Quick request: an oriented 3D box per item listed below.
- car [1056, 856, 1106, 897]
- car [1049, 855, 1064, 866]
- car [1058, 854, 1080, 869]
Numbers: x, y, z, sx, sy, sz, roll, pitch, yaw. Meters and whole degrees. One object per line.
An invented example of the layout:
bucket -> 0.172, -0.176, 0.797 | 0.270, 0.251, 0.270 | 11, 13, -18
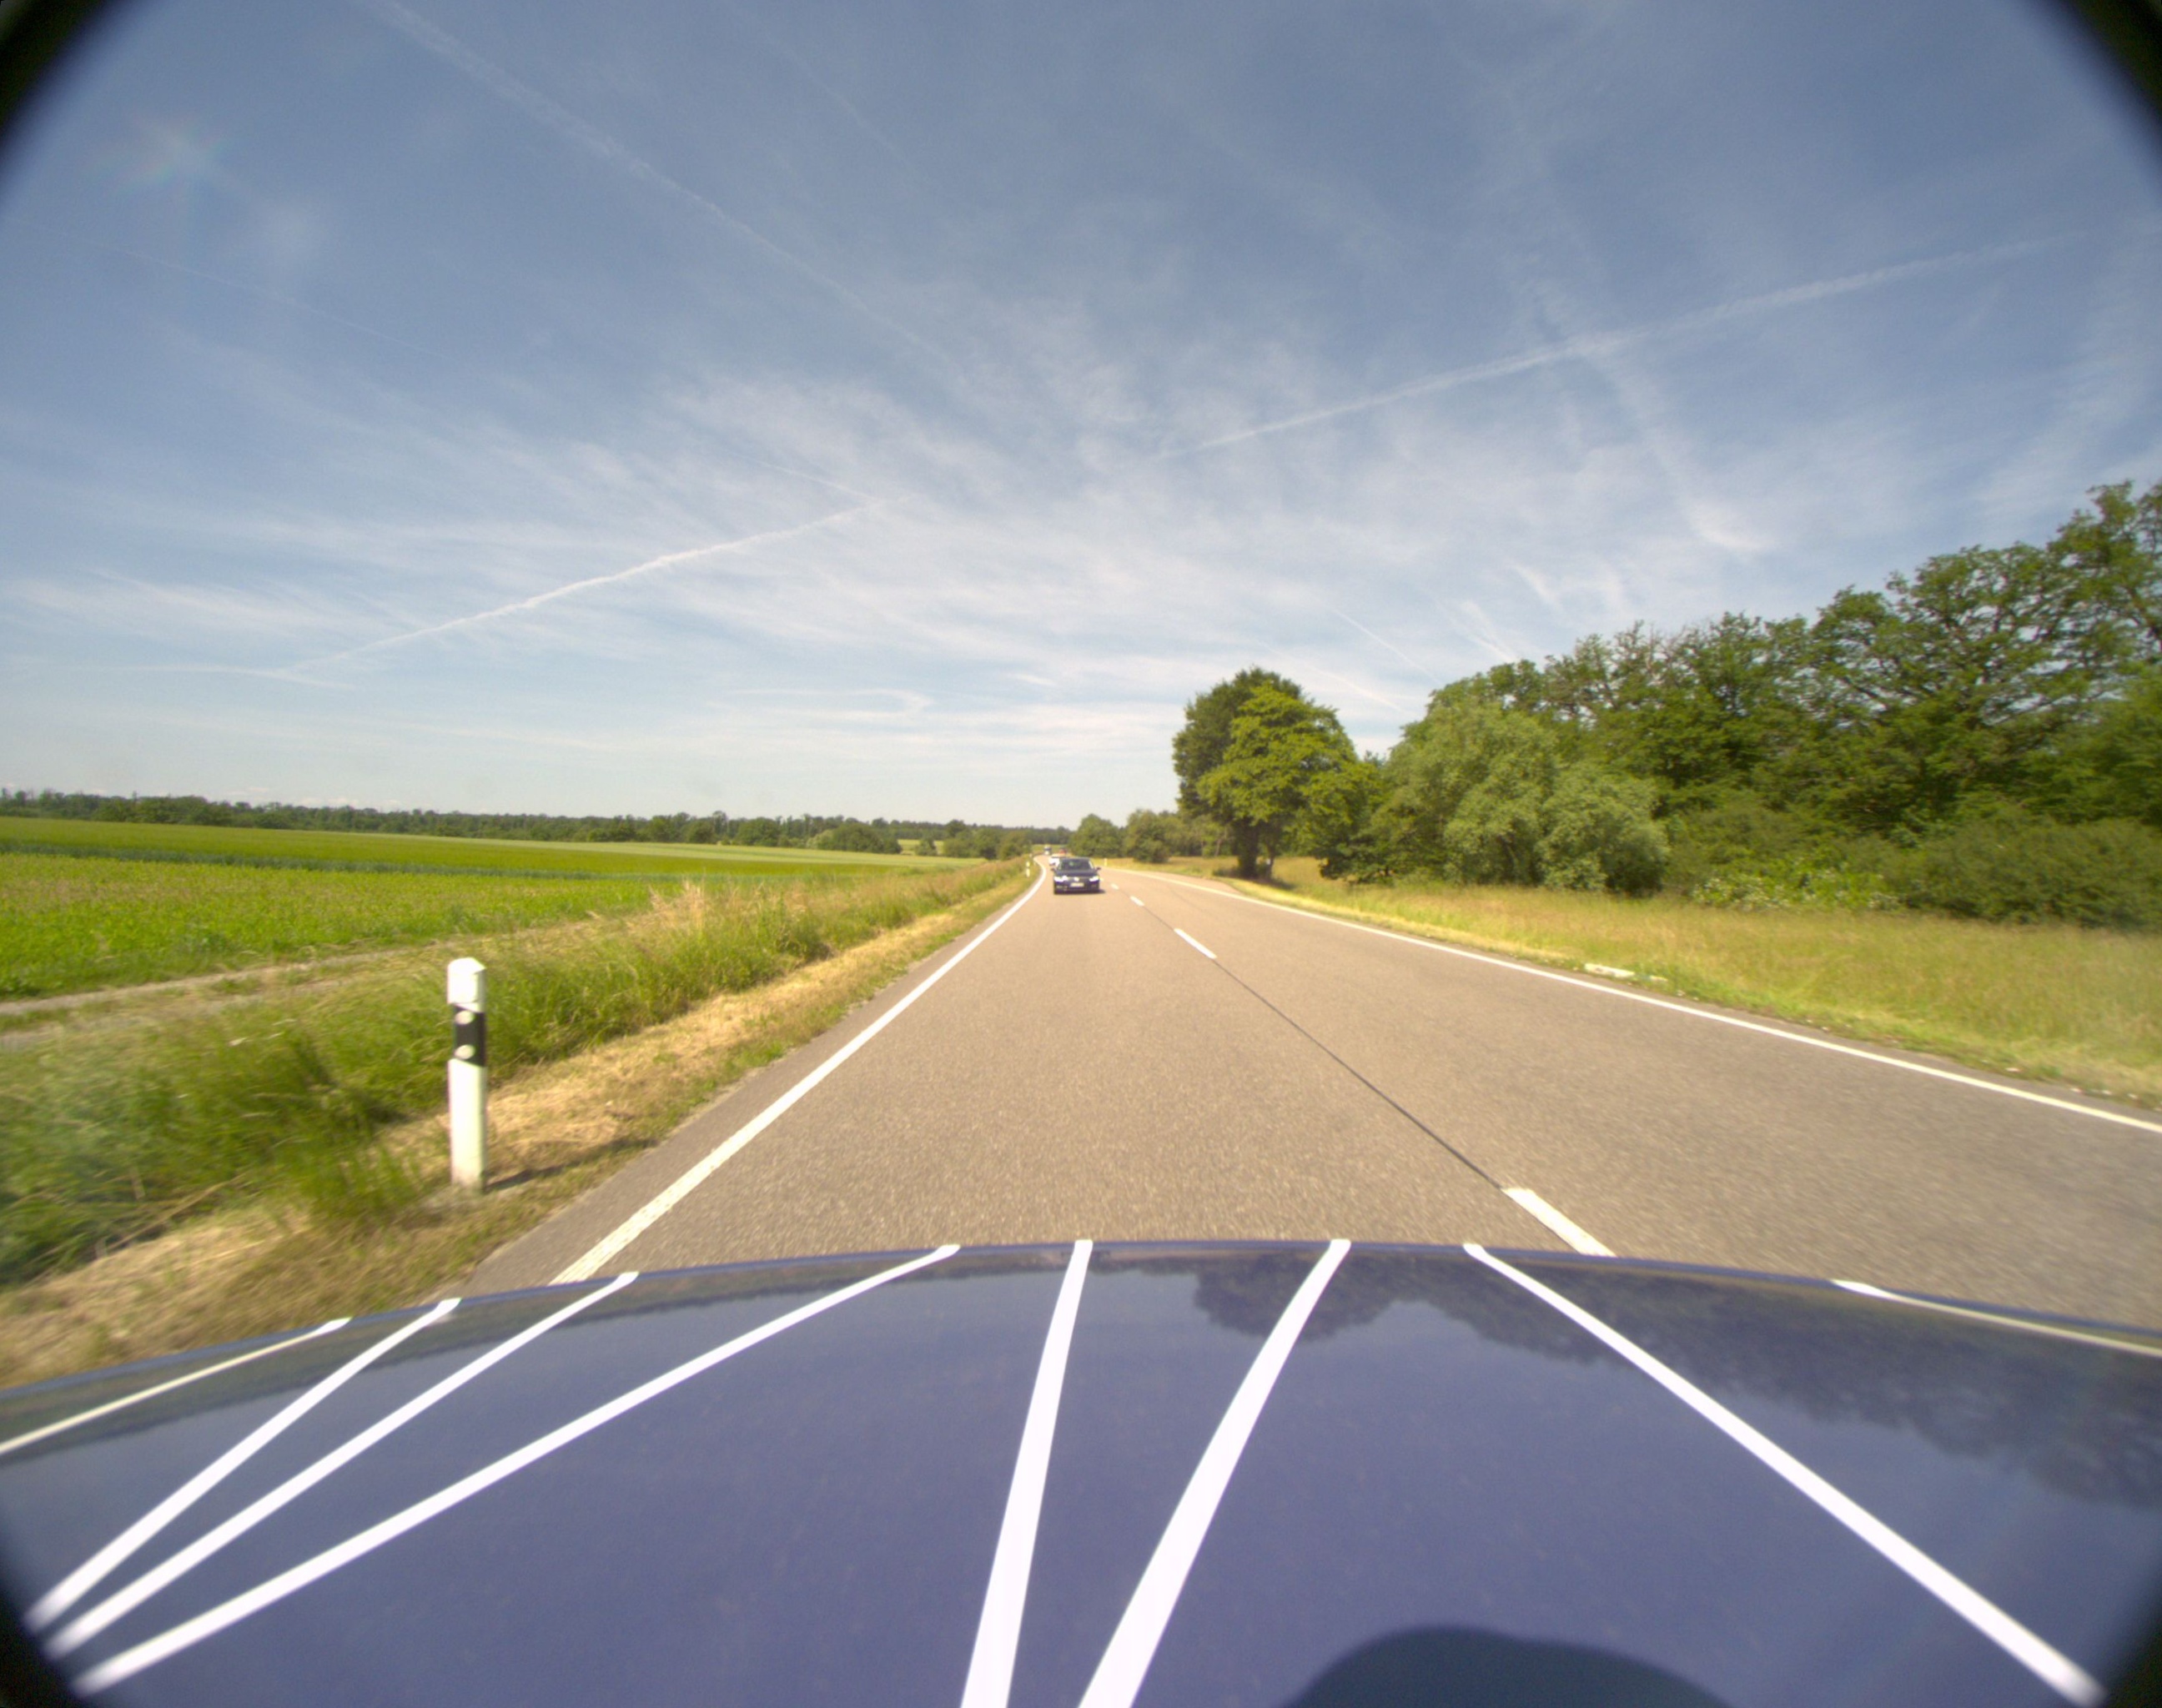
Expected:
car -> -0.083, 0.865, 31.524 | 1.822, 1.501, 4.499 | -2, 0, -3
car -> -3.520, 0.916, 107.255 | 1.929, 1.501, 4.290 | 1, 0, -5
car -> -1.210, 0.715, 76.775 | 1.929, 1.501, 4.289 | 0, 0, -5
